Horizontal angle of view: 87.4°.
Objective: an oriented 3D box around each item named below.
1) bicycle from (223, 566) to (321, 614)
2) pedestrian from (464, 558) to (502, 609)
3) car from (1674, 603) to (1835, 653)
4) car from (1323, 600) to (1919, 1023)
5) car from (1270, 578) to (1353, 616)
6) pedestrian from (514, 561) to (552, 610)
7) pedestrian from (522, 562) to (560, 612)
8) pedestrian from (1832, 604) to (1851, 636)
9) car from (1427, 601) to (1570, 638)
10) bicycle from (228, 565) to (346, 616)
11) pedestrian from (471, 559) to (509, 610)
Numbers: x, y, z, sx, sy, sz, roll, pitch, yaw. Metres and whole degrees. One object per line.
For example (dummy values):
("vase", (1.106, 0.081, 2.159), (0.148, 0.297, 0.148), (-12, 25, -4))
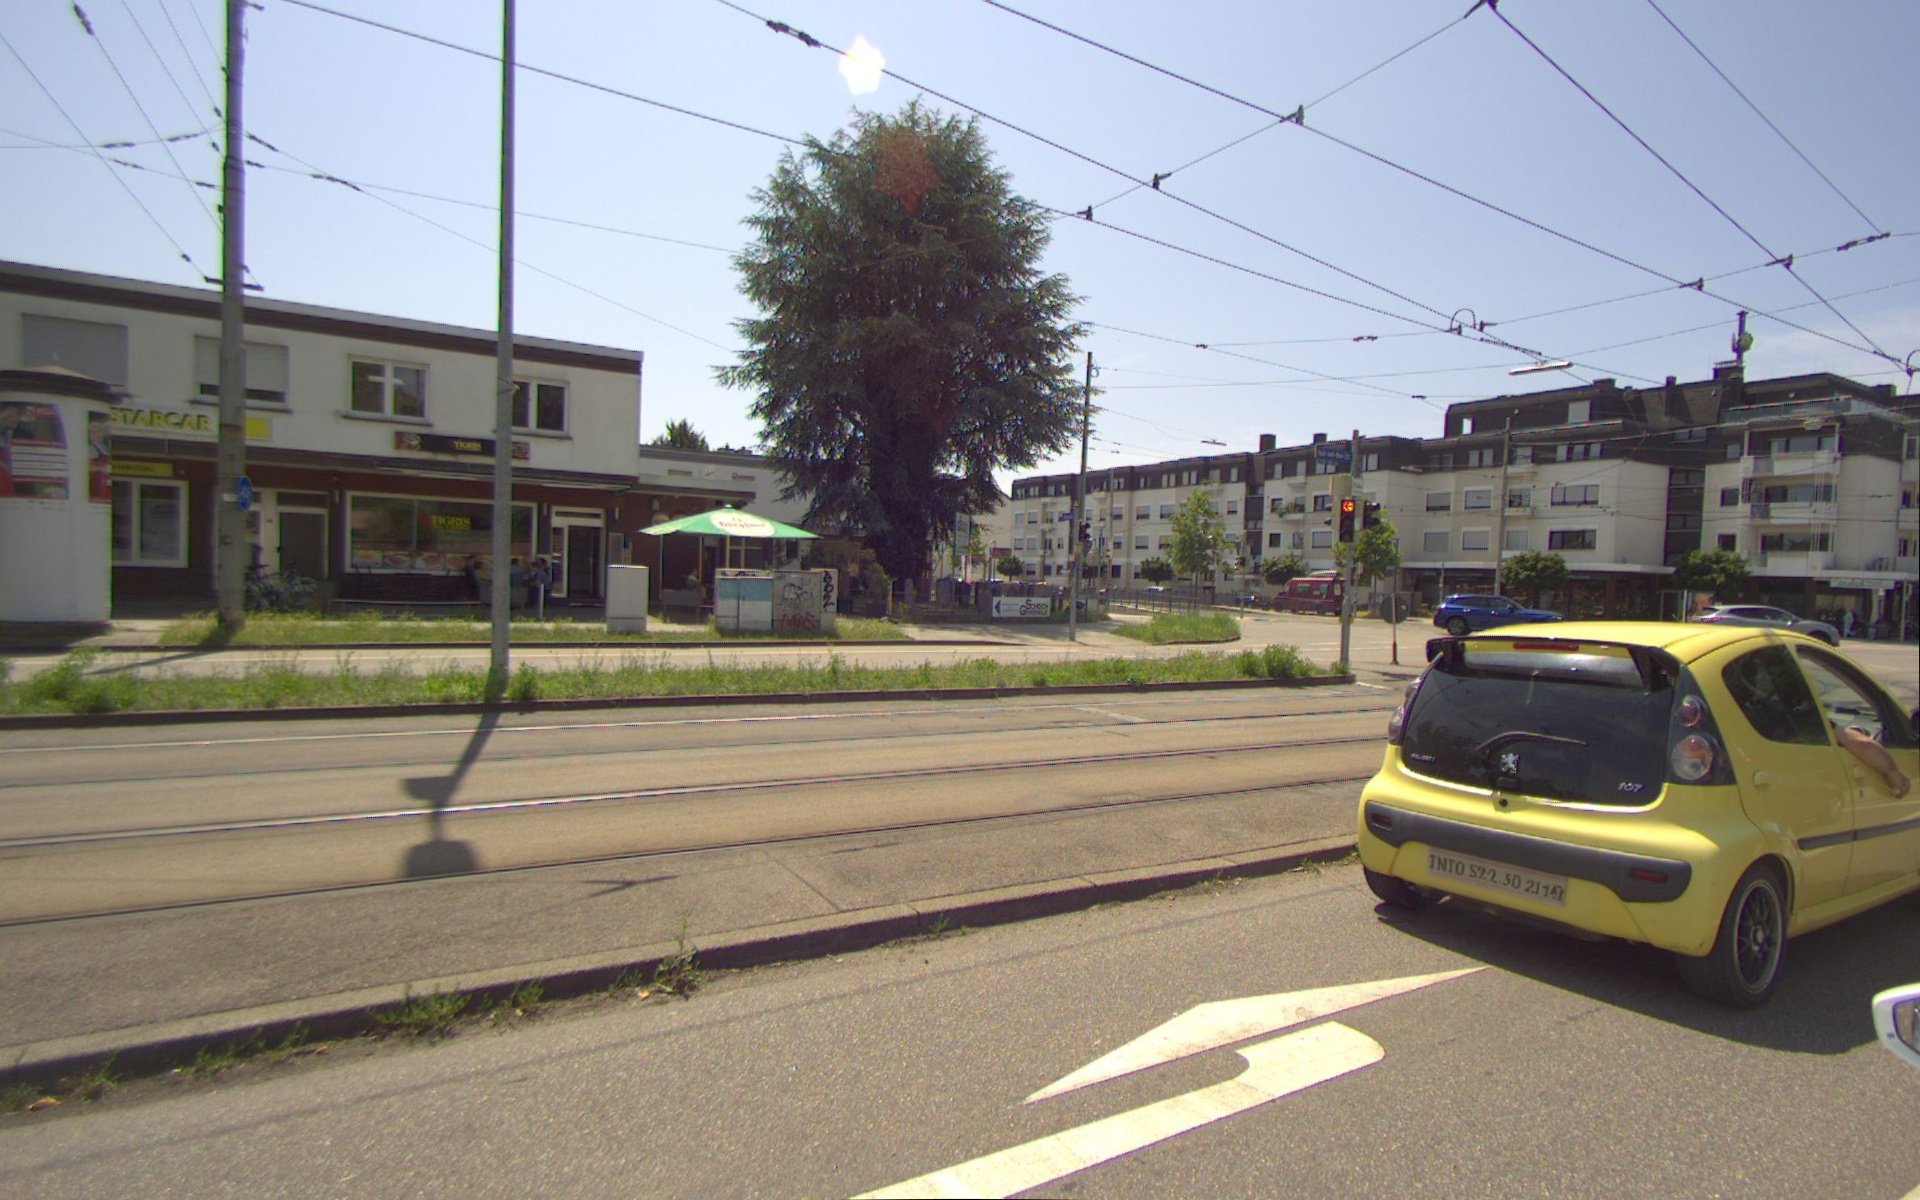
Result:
("bicycle", (-15.253, -0.214, 22.315), (1.738, 0.992, 0.536), (2, 0, -31))
("pedestrian", (-12.642, -0.429, 26.607), (0.832, 1.285, 0.586), (2, 0, -30))
("car", (28.516, 0.987, 36.196), (4.068, 1.605, 1.940), (2, 0, 14))
("car", (3.619, 0.751, 5.063), (3.254, 1.464, 1.715), (1, 0, -31))
("car", (23.838, -0.211, 68.238), (2.219, 2.372, 5.038), (2, 0, -31))
("pedestrian", (-11.558, -0.377, 27.194), (0.832, 1.285, 0.586), (2, 0, -30))
("pedestrian", (-11.131, -0.348, 26.688), (0.832, 1.285, 0.586), (2, 0, -30))
("pedestrian", (49.173, 1.122, 56.037), (0.598, 1.777, 0.506), (2, 0, 16))
("car", (21.207, 0.743, 39.647), (4.708, 1.253, 1.932), (2, 0, 37))
("bicycle", (-14.239, -0.197, 21.323), (2.006, 0.992, 0.607), (2, 0, -31))
("pedestrian", (-12.168, -0.399, 26.004), (0.832, 1.285, 0.586), (2, 0, -30))
